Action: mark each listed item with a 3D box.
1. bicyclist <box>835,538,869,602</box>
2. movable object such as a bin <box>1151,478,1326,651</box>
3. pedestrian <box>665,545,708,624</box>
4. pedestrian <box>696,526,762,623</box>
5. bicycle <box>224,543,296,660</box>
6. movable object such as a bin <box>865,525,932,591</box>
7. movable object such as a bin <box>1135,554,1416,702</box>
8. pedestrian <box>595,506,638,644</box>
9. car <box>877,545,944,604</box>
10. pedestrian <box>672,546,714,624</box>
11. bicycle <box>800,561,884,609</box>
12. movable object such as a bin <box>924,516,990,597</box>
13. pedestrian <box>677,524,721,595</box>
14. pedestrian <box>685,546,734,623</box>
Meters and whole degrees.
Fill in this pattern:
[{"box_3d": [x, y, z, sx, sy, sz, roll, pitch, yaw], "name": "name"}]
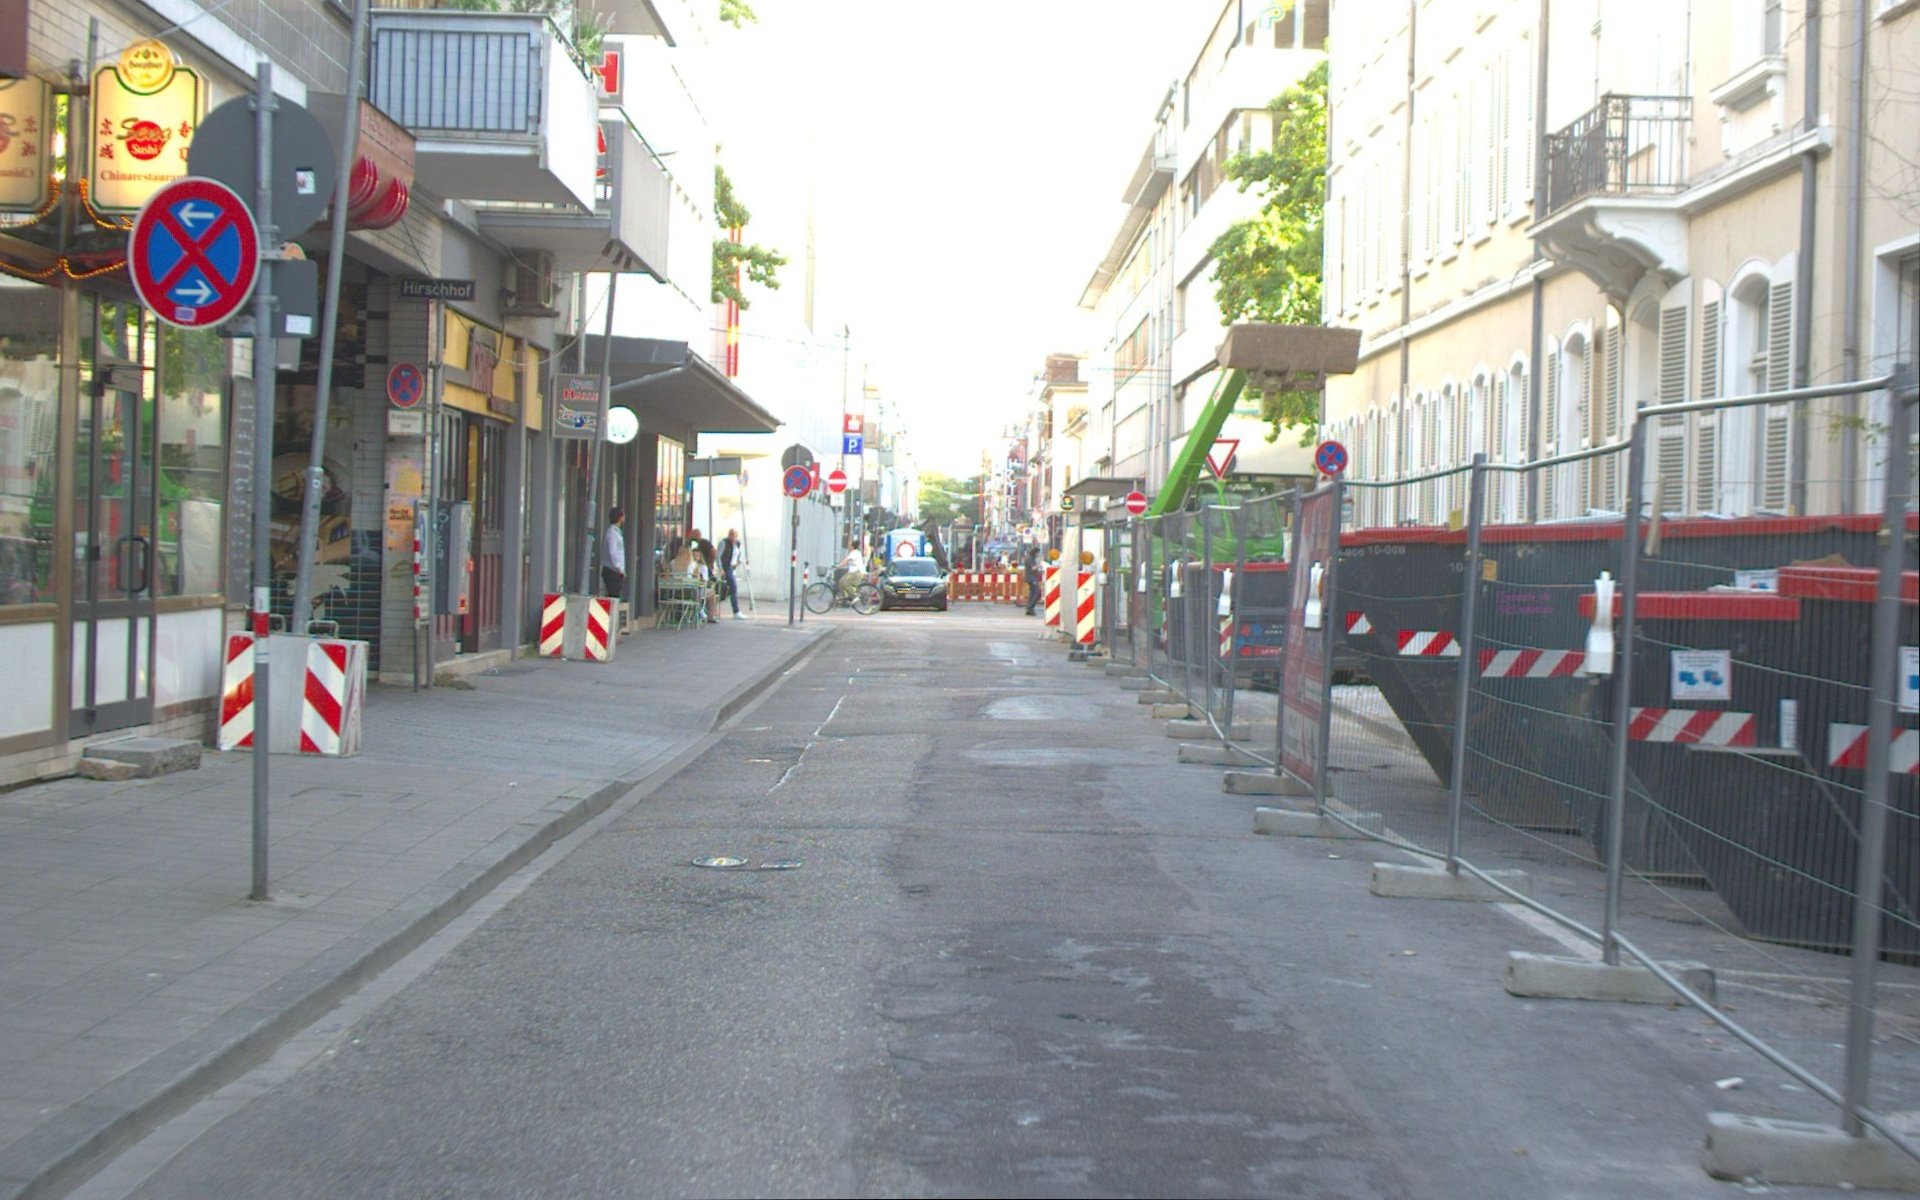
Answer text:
[{"box_3d": [-2.475, -0.693, 78.852, 0.724, 1.436, 0.506, 2, 1, -2], "name": "bicyclist"}, {"box_3d": [4.734, -0.619, 59.203, 2.605, 2.829, 4.450, 1, 1, 0], "name": "movable object such as a bin"}, {"box_3d": [-4.527, -0.260, 56.865, 0.573, 1.271, 0.713, 4, 1, 0], "name": "pedestrian"}, {"box_3d": [-4.424, -0.495, 65.871, 1.071, 1.829, 0.698, 1, 1, -21], "name": "pedestrian"}, {"box_3d": [-6.159, 0.002, 30.291, 0.377, 0.957, 1.502, 2, 2, -3], "name": "bicycle"}, {"box_3d": [-1.906, -1.325, 108.294, 1.993, 2.007, 4.000, 1, 1, 0], "name": "movable object such as a bin"}, {"box_3d": [3.957, 0.279, 44.748, 2.735, 1.633, 7.553, 2, 1, -1], "name": "movable object such as a bin"}, {"box_3d": [-4.635, -0.339, 46.329, 0.530, 1.828, 0.563, 1, 1, -6], "name": "pedestrian"}, {"box_3d": [-1.359, -0.708, 93.007, 1.629, 1.545, 3.143, 1, 1, -4], "name": "car"}, {"box_3d": [-4.492, -0.259, 57.777, 0.573, 1.271, 0.713, 4, 1, 0], "name": "pedestrian"}, {"box_3d": [-2.710, -0.351, 78.844, 1.890, 1.034, 0.409, 2, 1, -3], "name": "bicycle"}, {"box_3d": [-0.129, -1.505, 118.289, 2.156, 2.654, 4.573, 2, 1, 0], "name": "movable object such as a bin"}, {"box_3d": [-4.802, -0.750, 63.234, 0.711, 1.271, 0.704, 2, 1, 0], "name": "pedestrian"}, {"box_3d": [-4.287, -0.267, 58.919, 0.702, 1.271, 0.713, 4, 1, 0], "name": "pedestrian"}]
